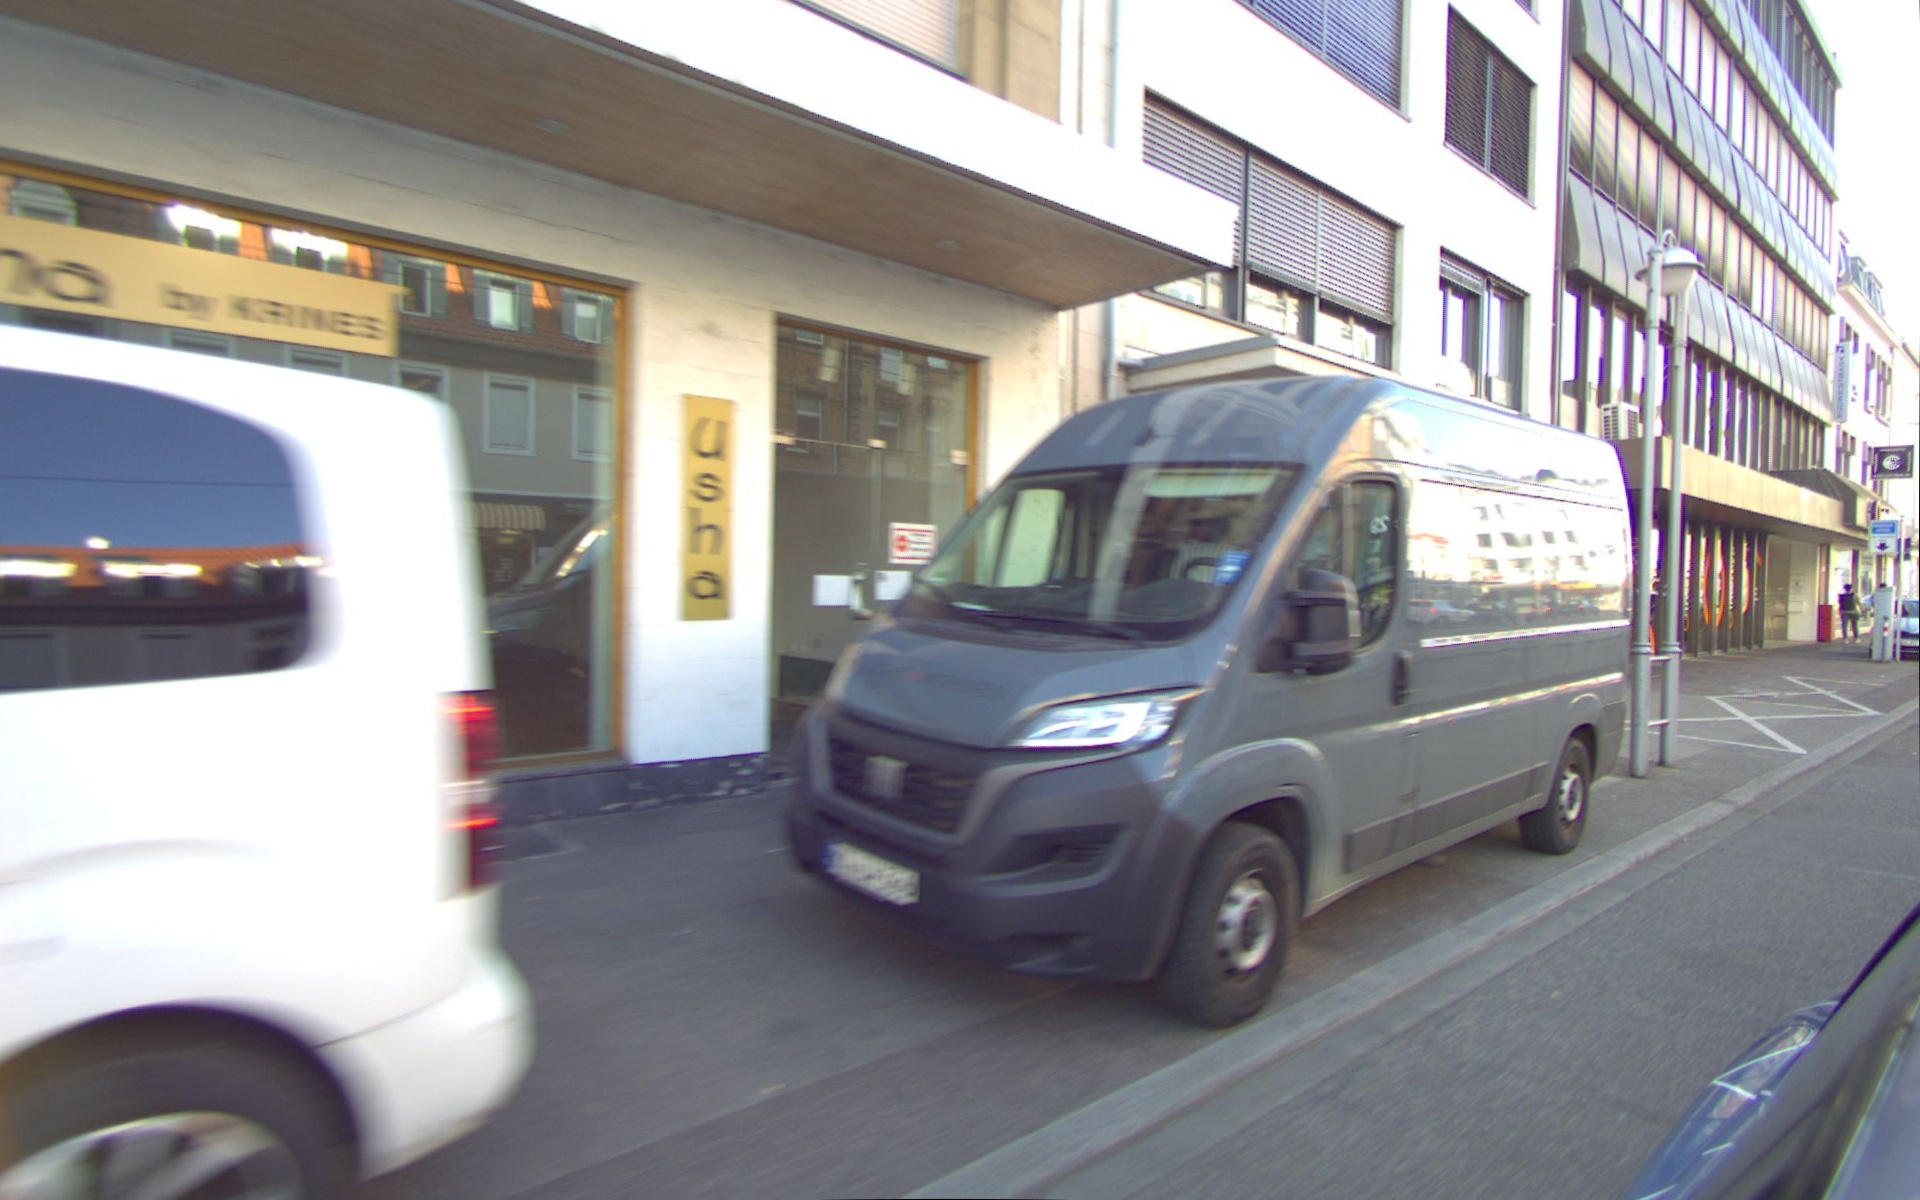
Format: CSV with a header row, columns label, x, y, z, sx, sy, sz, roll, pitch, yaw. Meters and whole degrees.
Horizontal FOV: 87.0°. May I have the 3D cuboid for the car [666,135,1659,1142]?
label,x,y,z,sx,sy,sz,roll,pitch,yaw
car,1.588,0.138,5.188,5.587,2.533,2.049,2,-1,-42

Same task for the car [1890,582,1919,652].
label,x,y,z,sx,sy,sz,roll,pitch,yaw
car,23.327,0.410,23.849,3.447,1.570,1.630,-1,4,-41

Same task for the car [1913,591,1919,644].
label,x,y,z,sx,sy,sz,roll,pitch,yaw
car,26.897,0.499,27.076,3.272,1.366,1.630,-1,4,-41

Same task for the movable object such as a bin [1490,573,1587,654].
label,x,y,z,sx,sy,sz,roll,pitch,yaw
movable object such as a bin,11.674,0.245,20.446,1.213,1.519,1.309,0,4,-41

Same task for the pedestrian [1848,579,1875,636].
label,x,y,z,sx,sy,sz,roll,pitch,yaw
pedestrian,27.558,0.220,30.952,0.731,1.696,0.513,0,0,-41

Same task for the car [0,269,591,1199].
label,x,y,z,sx,sy,sz,roll,pitch,yaw
car,-3.207,0.456,1.209,4.798,1.933,2.048,-1,3,-44
